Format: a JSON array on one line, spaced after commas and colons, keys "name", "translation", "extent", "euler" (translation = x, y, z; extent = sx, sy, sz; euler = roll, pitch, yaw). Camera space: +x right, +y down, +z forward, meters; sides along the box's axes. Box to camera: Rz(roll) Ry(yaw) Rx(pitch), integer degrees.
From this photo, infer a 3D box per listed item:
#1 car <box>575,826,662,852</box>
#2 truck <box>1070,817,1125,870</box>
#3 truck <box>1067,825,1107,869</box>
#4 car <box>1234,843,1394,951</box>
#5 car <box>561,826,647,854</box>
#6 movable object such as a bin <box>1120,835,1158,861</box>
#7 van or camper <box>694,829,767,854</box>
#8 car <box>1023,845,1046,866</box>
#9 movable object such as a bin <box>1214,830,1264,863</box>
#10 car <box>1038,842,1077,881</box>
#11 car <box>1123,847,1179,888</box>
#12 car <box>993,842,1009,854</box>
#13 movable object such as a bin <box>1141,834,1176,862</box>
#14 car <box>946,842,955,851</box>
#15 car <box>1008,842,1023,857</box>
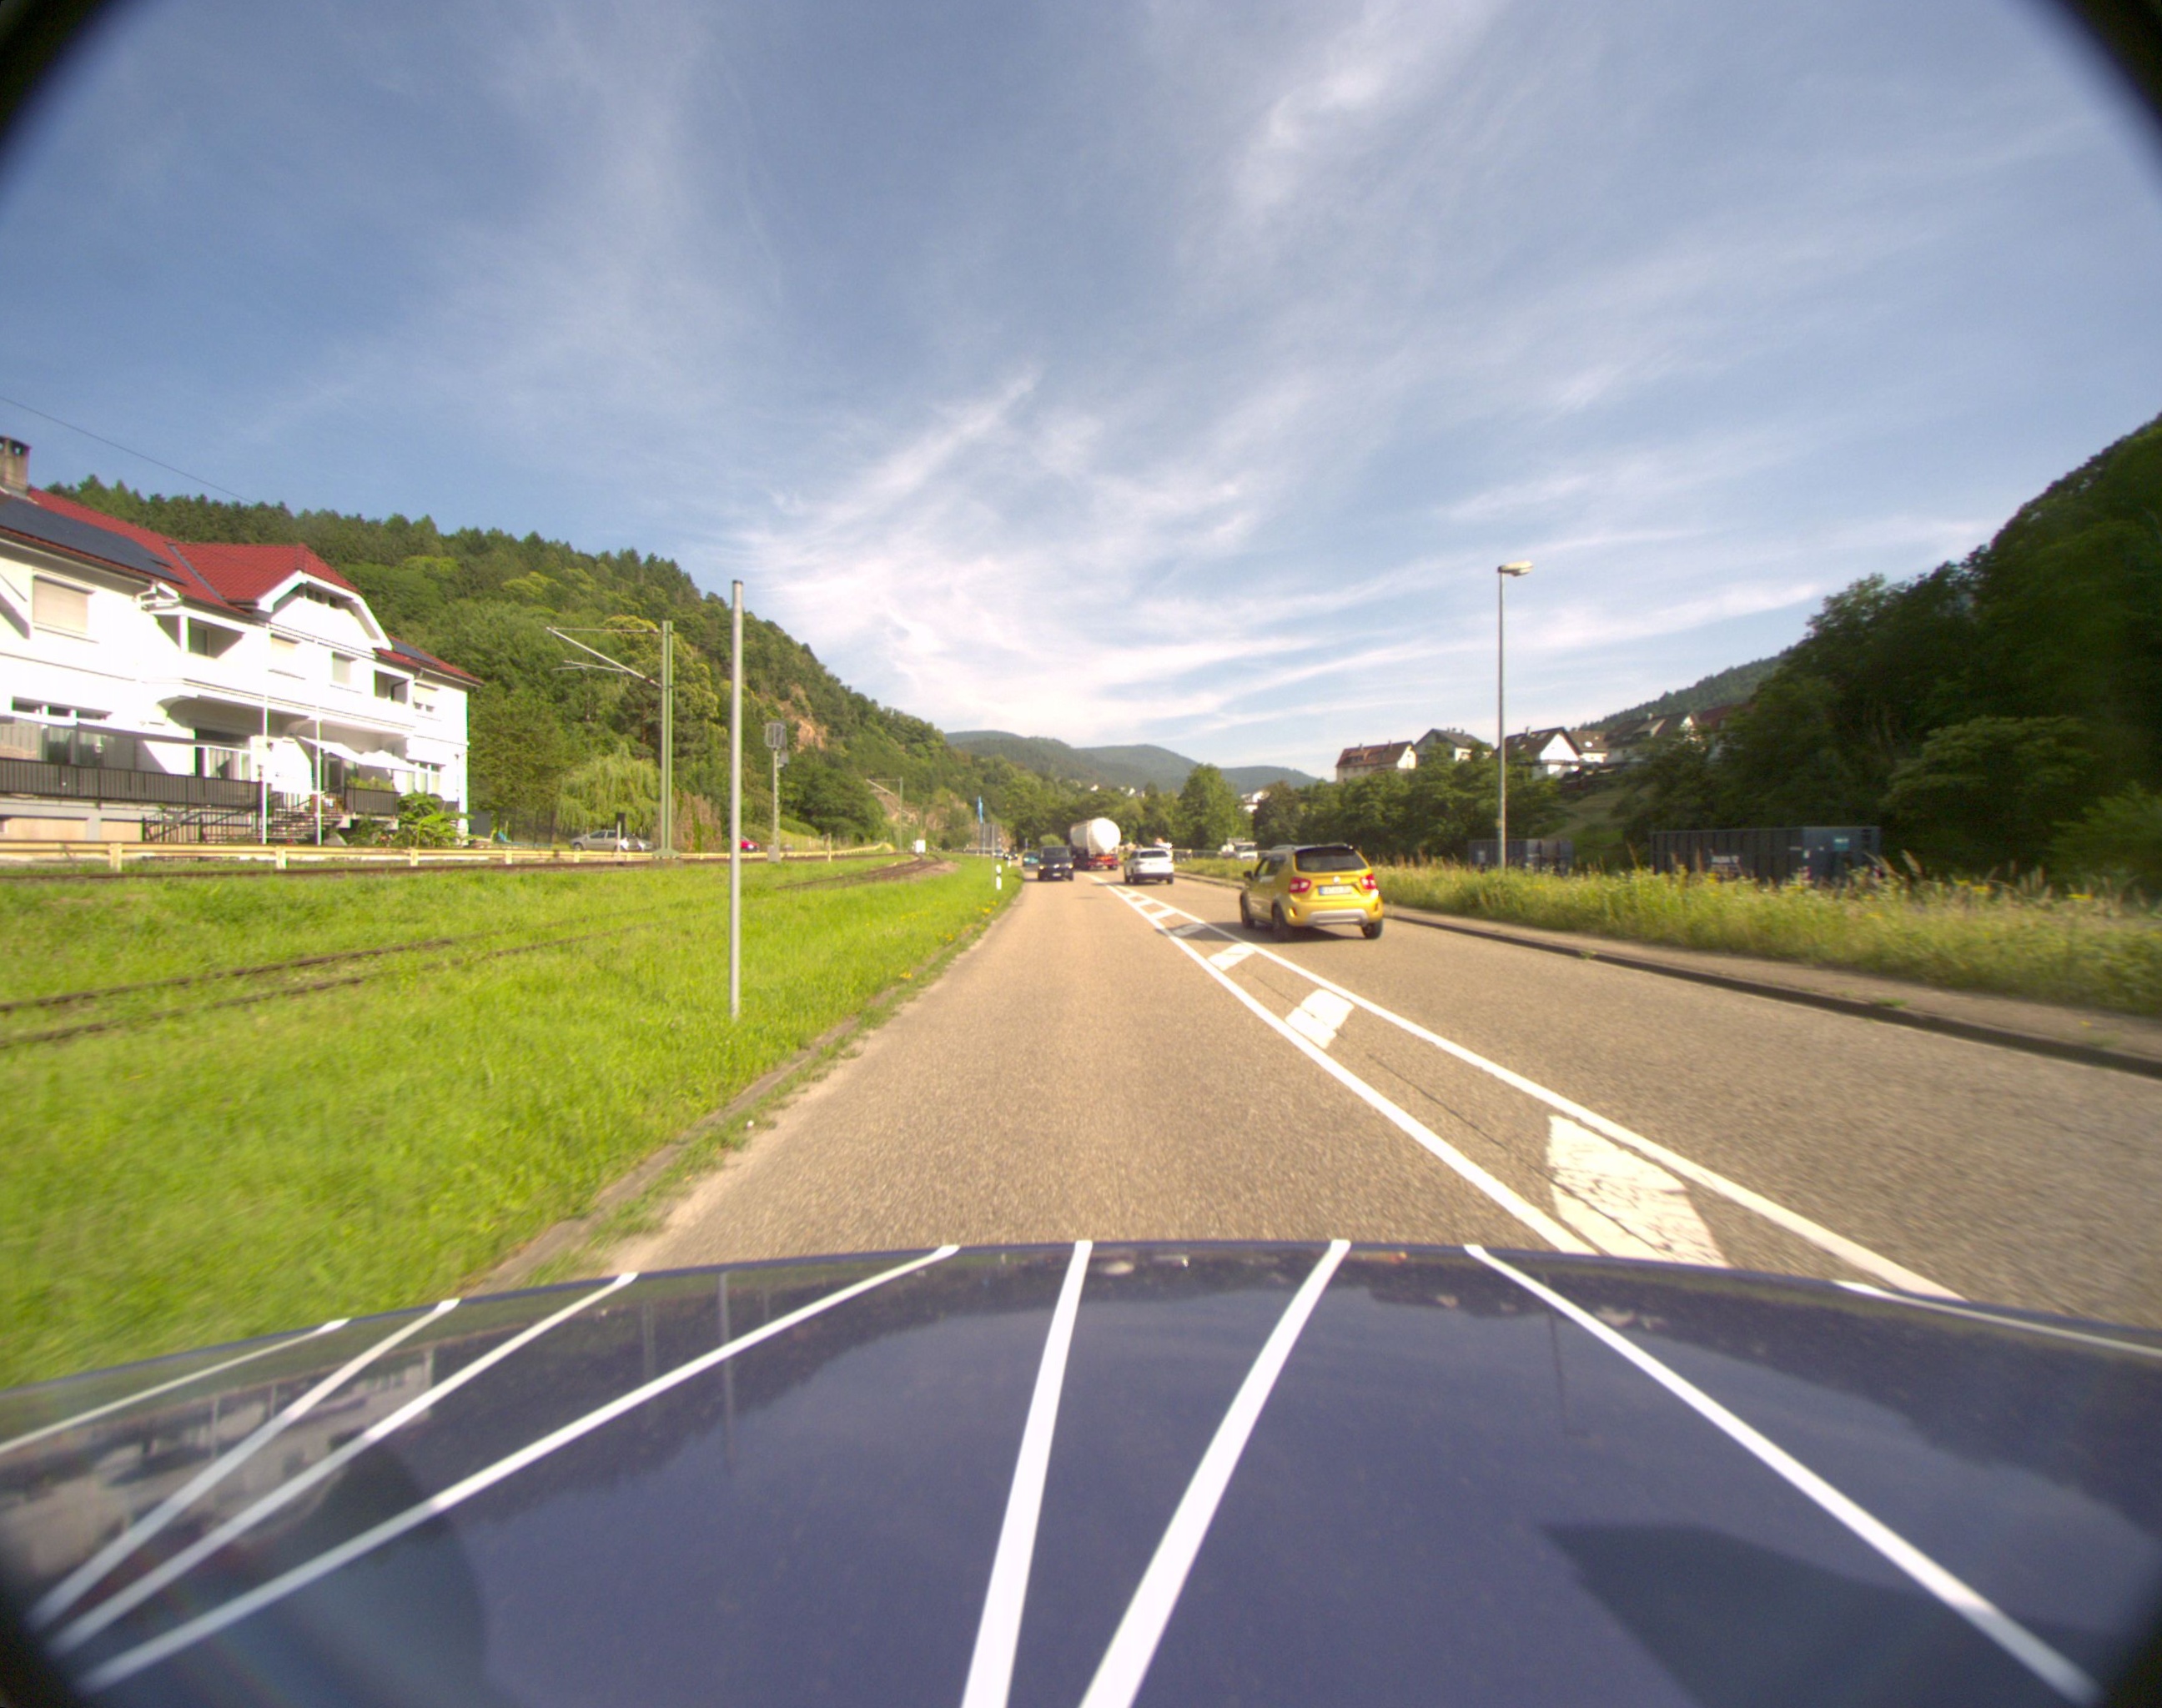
[{"name": "car", "translation": [-29.981, -0.966, 49.393], "extent": [4.326, 1.521, 1.999], "euler": [2, 0, -7]}, {"name": "truck", "translation": [1.101, -0.813, 62.269], "extent": [2.758, 3.813, 14.553], "euler": [-1, 1, -5]}, {"name": "truck", "translation": [0.443, -0.646, 69.958], "extent": [2.758, 3.813, 8.192], "euler": [-1, 1, -6]}, {"name": "car", "translation": [3.956, 0.650, 13.567], "extent": [1.728, 1.615, 3.796], "euler": [-1, 0, 1]}, {"name": "car", "translation": [-29.360, -0.852, 46.861], "extent": [4.000, 1.521, 1.999], "euler": [2, 0, -7]}, {"name": "movable object such as a bin", "translation": [9.228, -1.016, 121.500], "extent": [2.710, 3.924, 9.974], "euler": [2, 1, -16]}, {"name": "van or camper", "translation": [-30.799, -1.084, 66.903], "extent": [5.431, 1.918, 2.120], "euler": [2, 1, -2]}, {"name": "car", "translation": [-4.709, 0.116, 76.593], "extent": [2.000, 2.002, 3.997], "euler": [2, 0, -6]}, {"name": "movable object such as a bin", "translation": [19.760, -0.956, 95.657], "extent": [2.909, 3.924, 7.797], "euler": [2, 1, -15]}, {"name": "car", "translation": [-1.370, 0.441, 42.298], "extent": [1.999, 2.001, 3.999], "euler": [1, -1, -4]}, {"name": "car", "translation": [3.172, 0.569, 35.437], "extent": [1.999, 1.748, 4.468], "euler": [-2, 1, -2]}, {"name": "car", "translation": [-13.631, -0.997, 129.380], "extent": [2.001, 2.002, 3.994], "euler": [2, 0, -14]}, {"name": "movable object such as a bin", "translation": [11.495, -0.898, 113.136], "extent": [2.732, 3.924, 7.218], "euler": [2, 1, -15]}, {"name": "car", "translation": [-32.575, -1.843, 189.179], "extent": [2.000, 2.002, 3.996], "euler": [2, 0, -10]}, {"name": "car", "translation": [-9.517, -0.676, 109.925], "extent": [2.000, 2.002, 3.997], "euler": [2, 0, -7]}]
